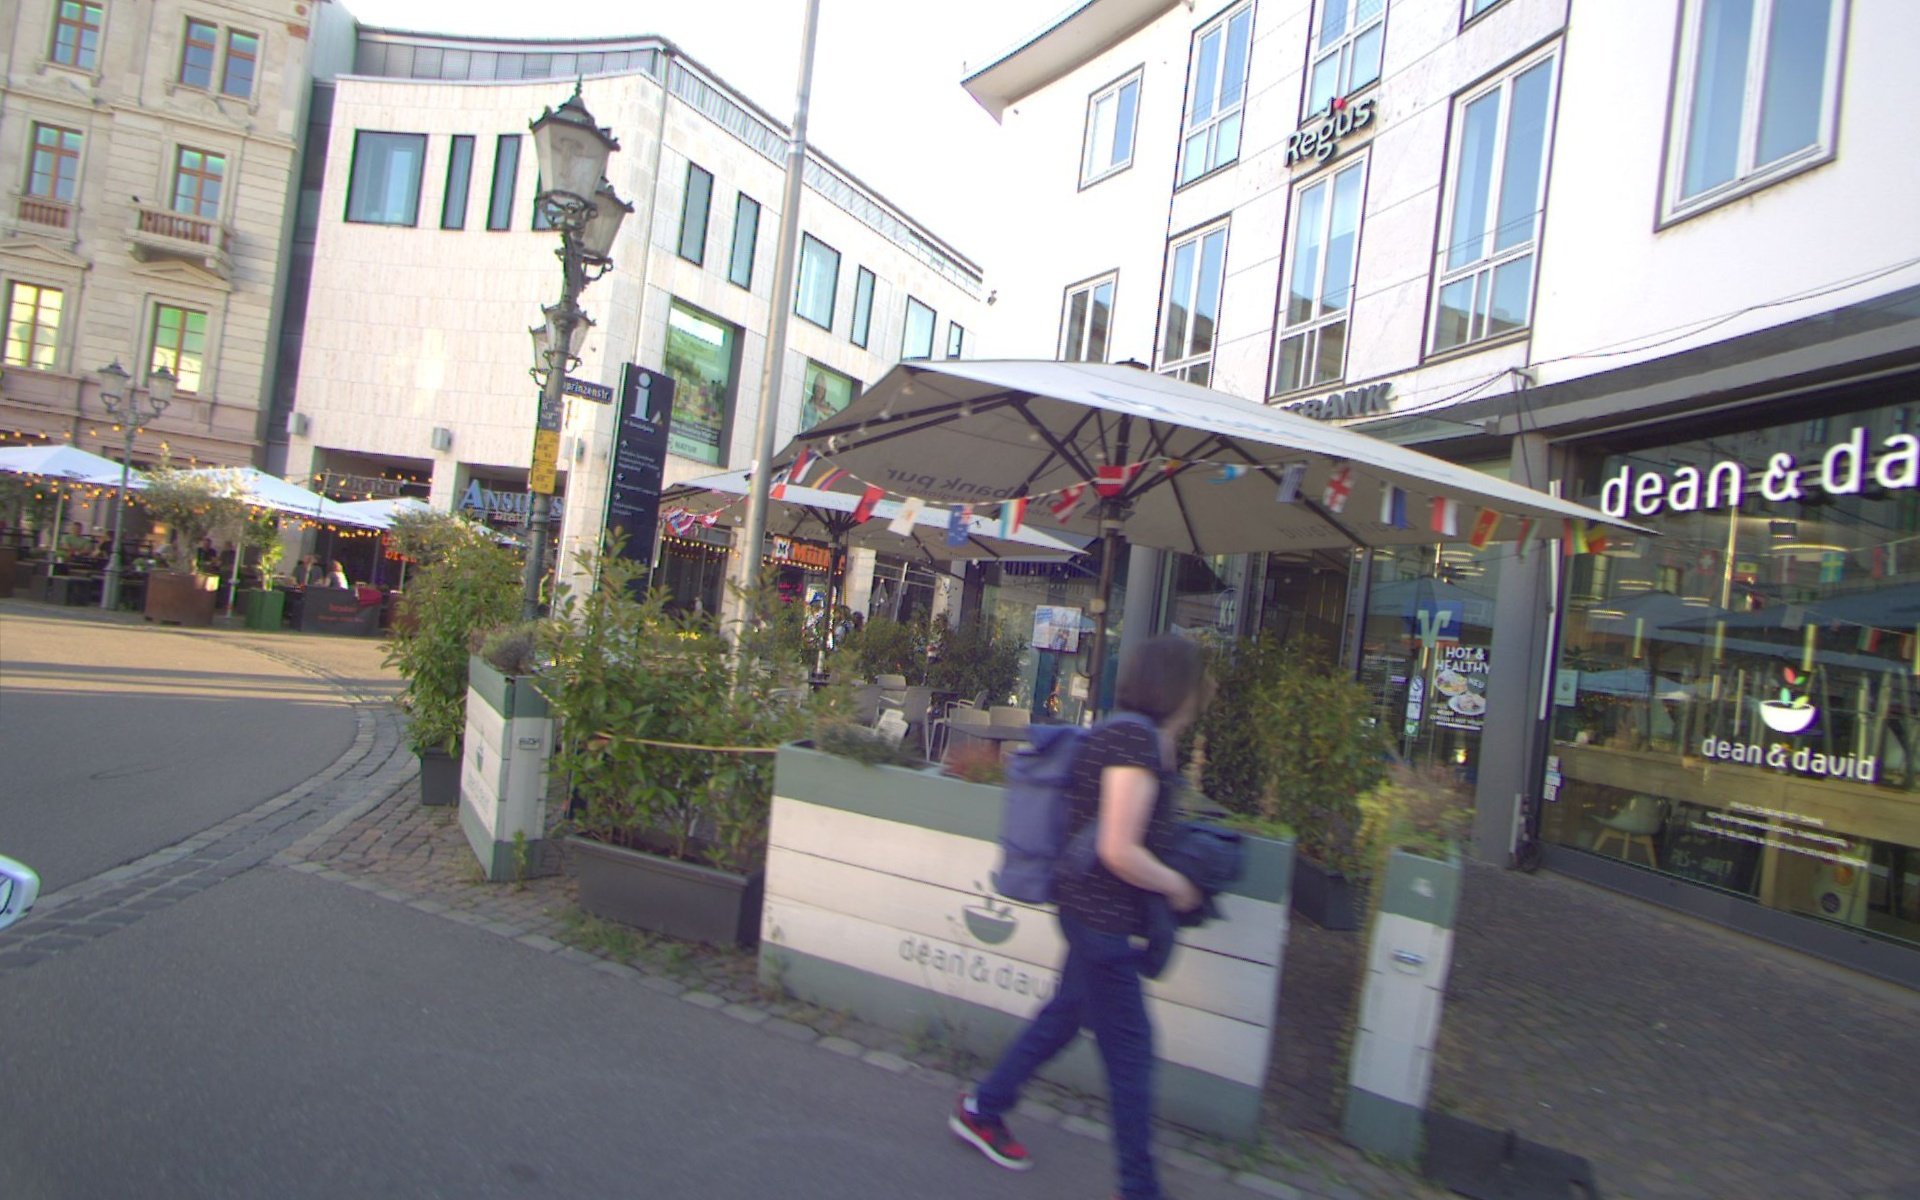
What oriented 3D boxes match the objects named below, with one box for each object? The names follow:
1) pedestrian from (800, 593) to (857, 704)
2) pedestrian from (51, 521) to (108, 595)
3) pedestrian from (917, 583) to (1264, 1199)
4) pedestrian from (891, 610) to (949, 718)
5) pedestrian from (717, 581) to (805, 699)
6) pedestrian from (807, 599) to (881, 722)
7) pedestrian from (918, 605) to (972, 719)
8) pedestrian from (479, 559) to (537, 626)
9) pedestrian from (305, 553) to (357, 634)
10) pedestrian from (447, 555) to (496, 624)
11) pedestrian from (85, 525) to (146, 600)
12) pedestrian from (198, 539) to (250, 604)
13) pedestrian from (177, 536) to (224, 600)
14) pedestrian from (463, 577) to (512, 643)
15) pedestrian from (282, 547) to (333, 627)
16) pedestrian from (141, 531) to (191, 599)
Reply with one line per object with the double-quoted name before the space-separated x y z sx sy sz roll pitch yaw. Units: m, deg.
"pedestrian" -2.427 0.876 18.490 0.676 1.919 0.869 7 -1 -19
"pedestrian" -18.989 -0.905 21.708 0.612 1.496 0.546 7 0 14
"pedestrian" 0.385 0.844 2.869 0.682 1.667 0.693 7 0 12
"pedestrian" -0.665 1.070 16.790 0.593 1.710 0.500 7 -1 30
"pedestrian" -3.555 0.719 18.053 0.991 1.955 1.028 7 -1 15
"pedestrian" -1.769 0.927 15.451 0.801 1.751 0.760 7 -1 5
"pedestrian" -0.256 1.064 17.318 0.553 1.876 0.460 7 -1 28
"pedestrian" -12.269 -0.185 27.306 0.852 1.667 0.931 7 -1 25
"pedestrian" -12.333 -0.132 19.719 0.553 1.496 0.529 7 -1 33
"pedestrian" -12.550 -0.262 25.848 0.680 1.667 0.695 7 -1 24
"pedestrian" -18.048 -0.793 21.498 0.671 1.496 0.589 7 0 16
"pedestrian" -17.937 -0.686 24.534 0.612 1.496 0.625 7 0 3
"pedestrian" -18.827 -0.786 24.940 0.613 1.496 0.545 7 0 24
"pedestrian" -10.347 0.222 22.035 0.712 1.326 0.548 7 -1 32
"pedestrian" -13.038 -0.259 20.116 0.553 1.496 0.529 7 0 32
"pedestrian" -18.976 -0.831 24.049 0.613 1.496 0.592 7 0 24
